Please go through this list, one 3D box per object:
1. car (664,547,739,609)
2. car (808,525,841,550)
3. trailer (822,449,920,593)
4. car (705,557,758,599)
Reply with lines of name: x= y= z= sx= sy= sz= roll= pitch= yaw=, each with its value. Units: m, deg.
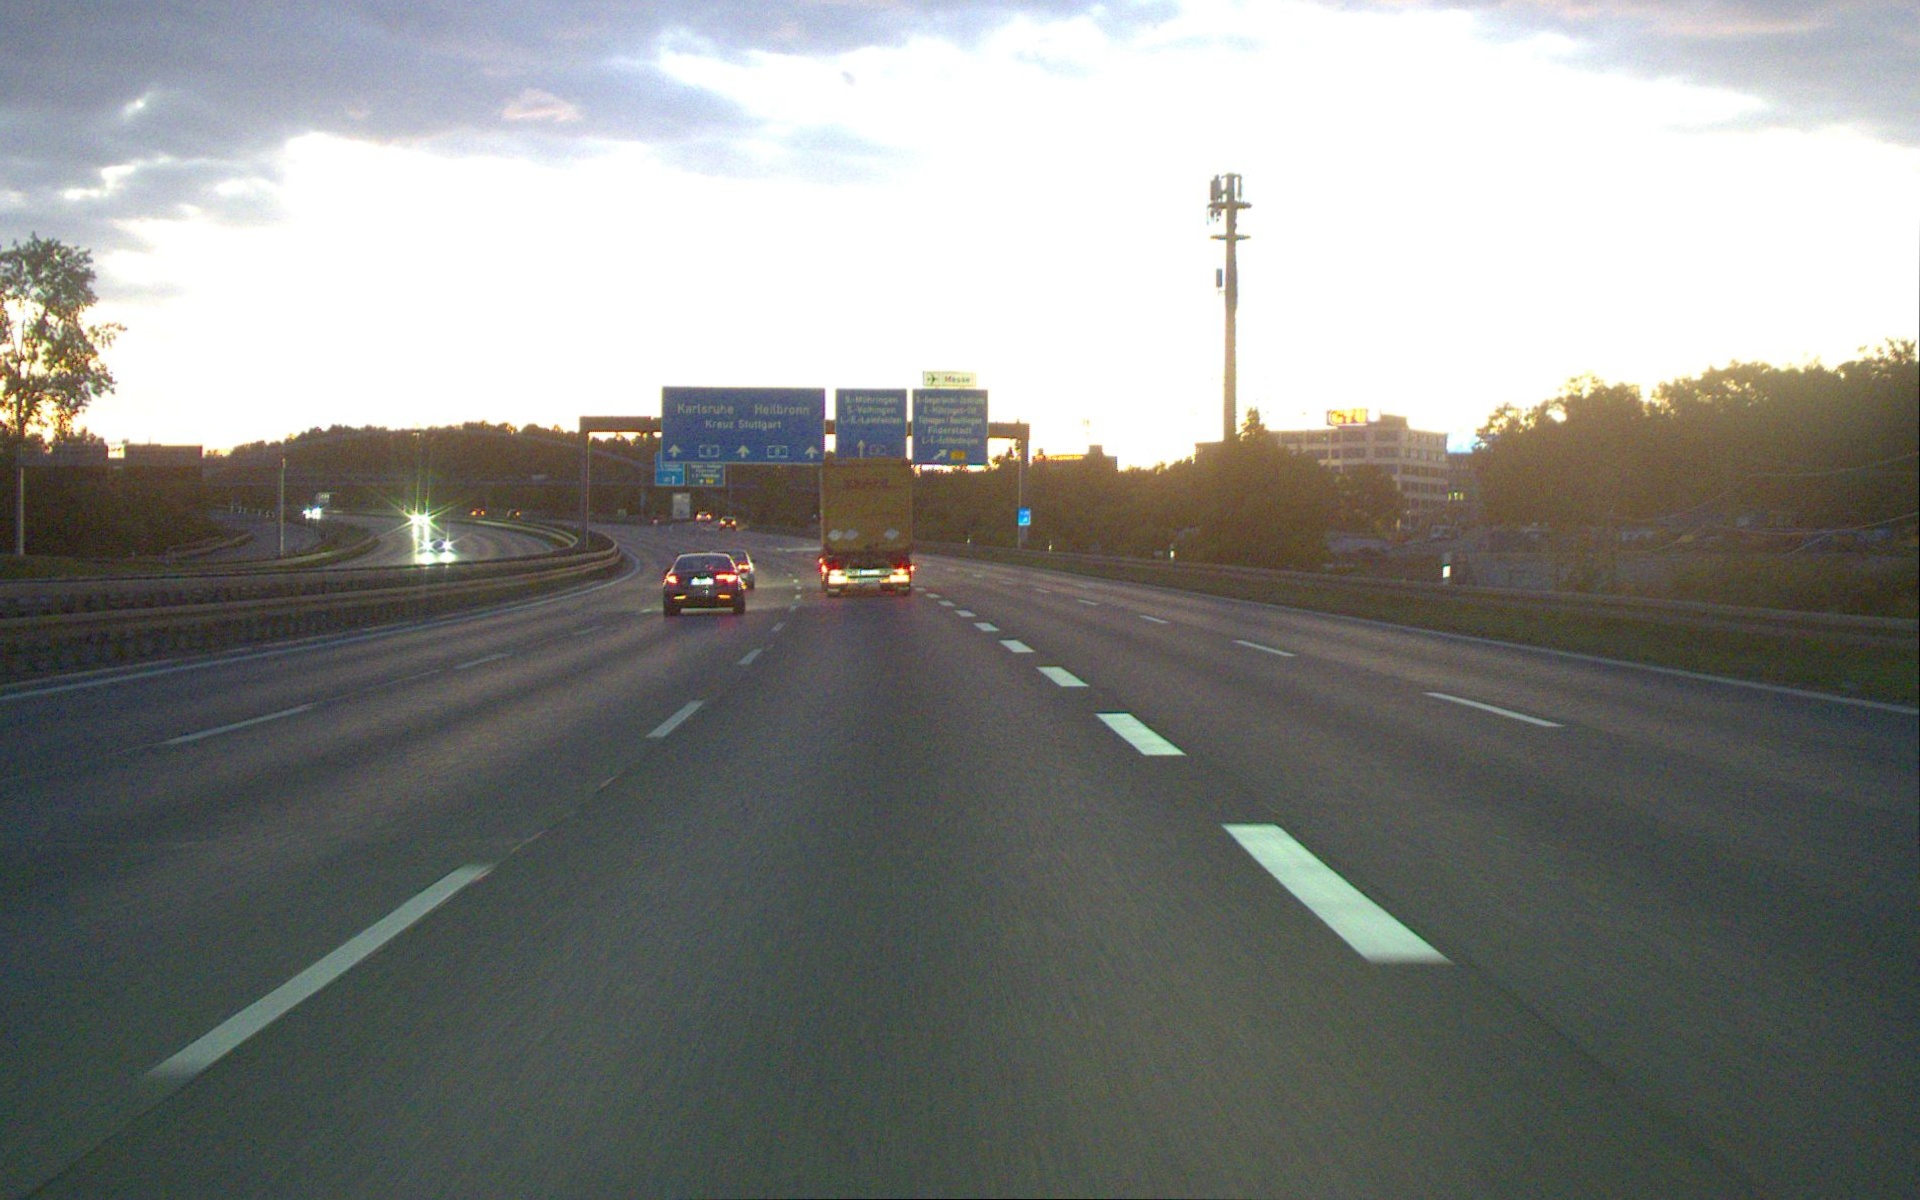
car: x=-6.046 y=-0.514 z=80.676 sx=1.689 sy=1.396 sz=3.409 roll=-1 pitch=0 yaw=-4
car: x=-9.648 y=-4.435 z=244.622 sx=1.993 sy=1.711 sz=4.001 roll=0 pitch=0 yaw=-7
trailer: x=-2.718 y=-2.404 z=102.583 sx=2.721 sy=4.057 sz=8.832 roll=-1 pitch=2 yaw=-2
car: x=-8.001 y=-0.757 z=120.597 sx=1.689 sy=1.396 sz=3.409 roll=-2 pitch=0 yaw=-2
